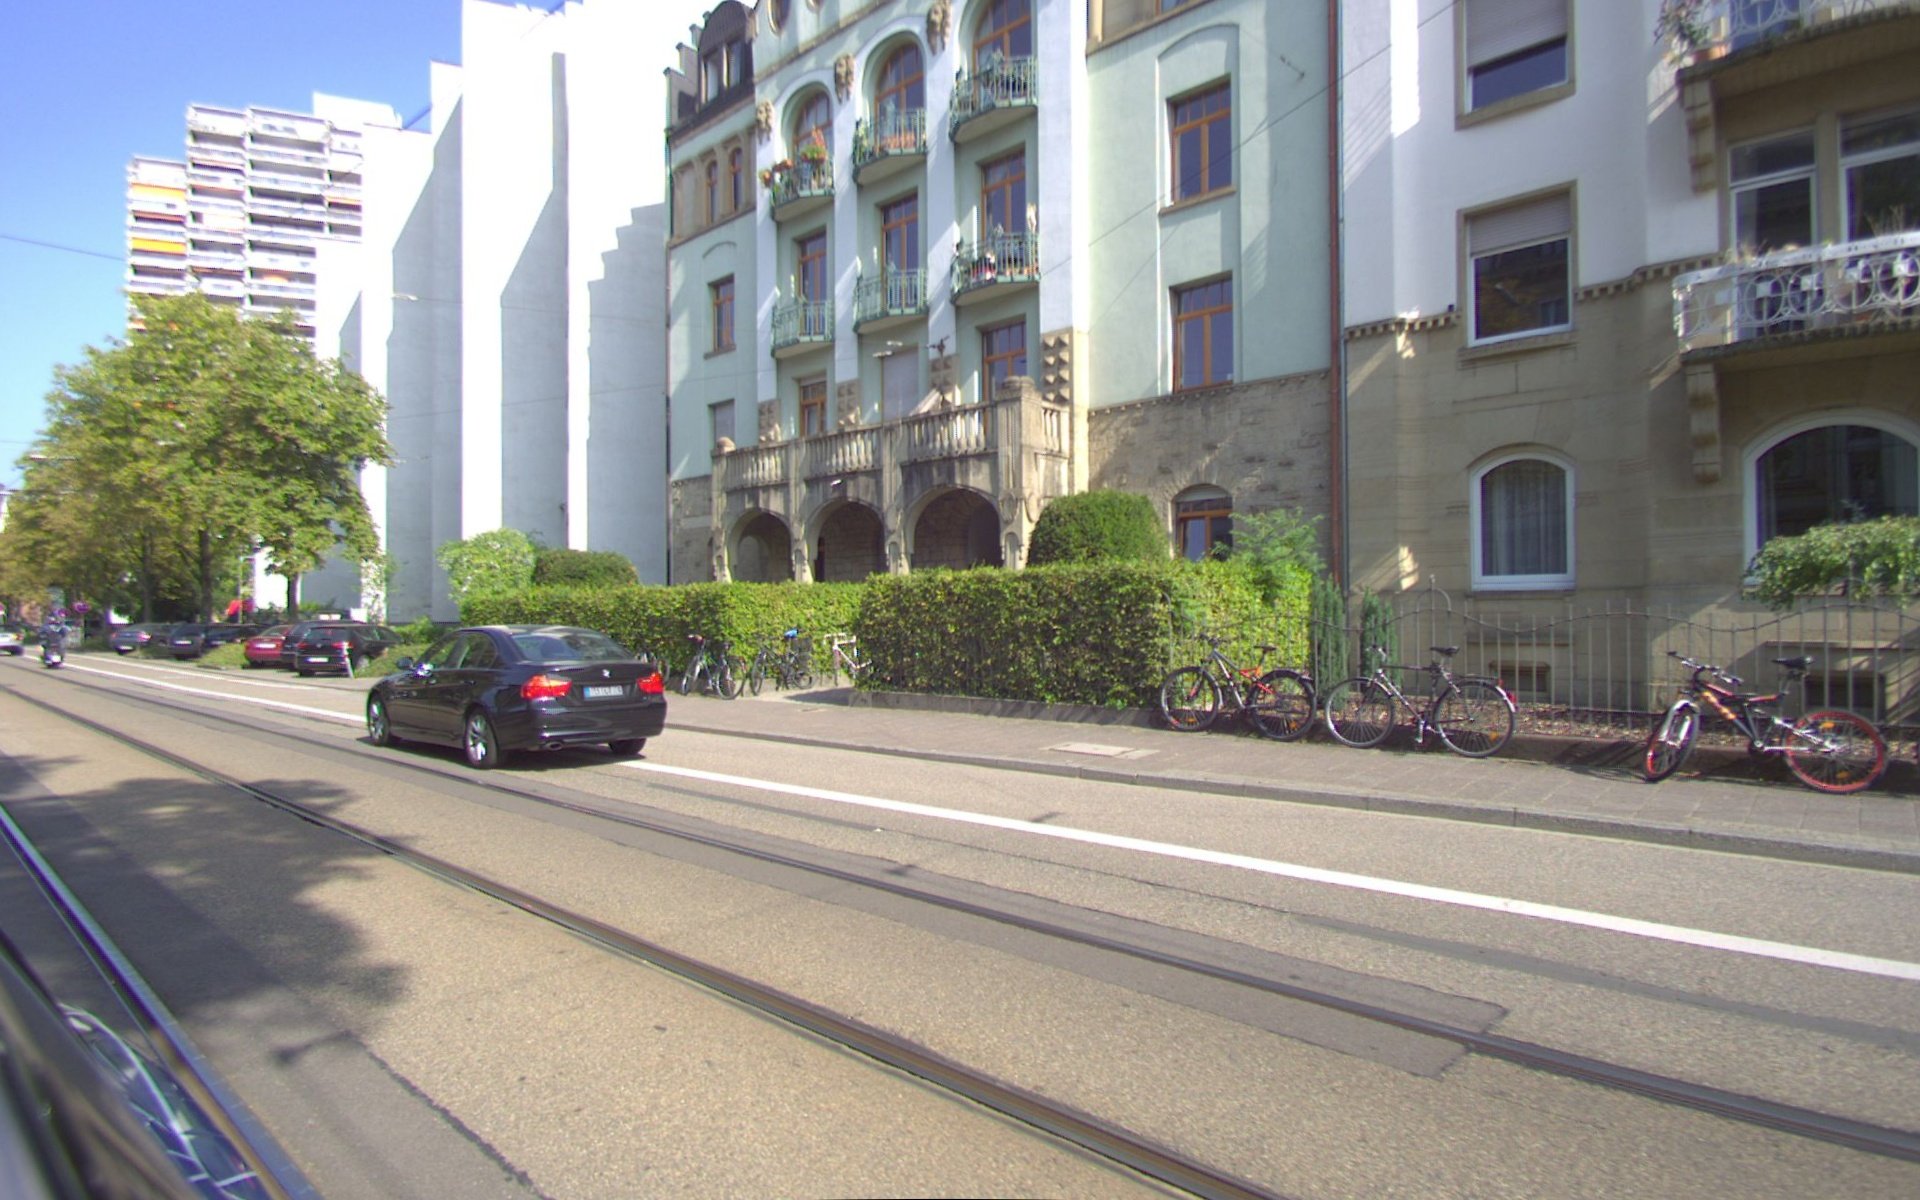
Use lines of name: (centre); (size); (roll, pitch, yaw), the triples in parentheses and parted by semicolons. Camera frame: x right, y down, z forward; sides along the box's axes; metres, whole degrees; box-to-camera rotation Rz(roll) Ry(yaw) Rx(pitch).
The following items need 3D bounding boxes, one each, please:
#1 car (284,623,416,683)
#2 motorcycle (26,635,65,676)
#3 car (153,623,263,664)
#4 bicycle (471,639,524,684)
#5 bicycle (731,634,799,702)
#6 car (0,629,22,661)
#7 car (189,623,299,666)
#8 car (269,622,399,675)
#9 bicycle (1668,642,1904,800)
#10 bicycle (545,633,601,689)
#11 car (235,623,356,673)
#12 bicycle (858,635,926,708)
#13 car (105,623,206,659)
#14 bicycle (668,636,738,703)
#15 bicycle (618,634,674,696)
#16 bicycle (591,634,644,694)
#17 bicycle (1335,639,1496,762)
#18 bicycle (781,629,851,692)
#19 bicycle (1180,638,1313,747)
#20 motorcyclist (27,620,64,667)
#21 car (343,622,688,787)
car: (-17.231, 1.449, 28.804); (1.744, 1.539, 4.006); (0, -1, -7)
motorcycle: (-29.242, 1.756, 32.351); (2.202, 1.252, 0.805); (-2, -2, 44)
car: (-29.766, 1.692, 40.208); (1.744, 1.539, 4.006); (0, -1, -7)
bicycle: (-10.560, 1.390, 23.099); (1.769, 0.985, 0.420); (-1, -2, 41)
bicycle: (-3.322, 1.134, 17.318); (0.423, 1.096, 1.384); (-1, -1, 24)
car: (-43.046, 1.975, 44.869); (3.786, 1.367, 1.734); (-1, -2, 41)
car: (-27.283, 1.672, 38.704); (1.744, 1.539, 4.006); (0, -1, -7)
car: (-19.570, 1.482, 31.870); (1.746, 1.539, 4.002); (0, -1, -2)
bicycle: (6.278, 0.882, 7.749); (1.354, 1.096, 0.366); (-1, -2, 42)
bicycle: (-8.022, 1.237, 20.943); (1.677, 1.096, 0.419); (-2, -2, 45)
car: (-21.898, 1.533, 33.531); (1.744, 1.539, 4.006); (0, -1, -7)
bicycle: (-1.074, 1.115, 16.201); (0.424, 1.096, 1.342); (-1, -1, 29)
car: (-36.460, 1.813, 45.997); (1.744, 1.539, 4.006); (0, -1, -7)
bicycle: (-4.471, 1.179, 17.539); (0.419, 1.096, 1.678); (1, -2, -44)
bicycle: (-5.920, 1.202, 19.062); (0.419, 1.096, 1.679); (1, -2, -39)
bicycle: (-6.618, 1.204, 19.498); (0.419, 1.096, 1.679); (1, -2, -39)
bicycle: (4.352, 0.927, 9.733); (1.354, 1.096, 0.366); (-1, -2, 42)
bicycle: (-2.621, 1.093, 18.511); (0.425, 1.096, 1.337); (-1, -2, 40)
bicycle: (3.078, 0.968, 10.964); (1.354, 1.096, 0.366); (-1, -2, 42)
motorcyclist: (-29.230, 1.388, 32.337); (0.889, 1.464, 0.805); (-2, -2, 44)
car: (-5.068, 0.975, 11.179); (4.644, 1.413, 1.679); (-1, 0, 41)
